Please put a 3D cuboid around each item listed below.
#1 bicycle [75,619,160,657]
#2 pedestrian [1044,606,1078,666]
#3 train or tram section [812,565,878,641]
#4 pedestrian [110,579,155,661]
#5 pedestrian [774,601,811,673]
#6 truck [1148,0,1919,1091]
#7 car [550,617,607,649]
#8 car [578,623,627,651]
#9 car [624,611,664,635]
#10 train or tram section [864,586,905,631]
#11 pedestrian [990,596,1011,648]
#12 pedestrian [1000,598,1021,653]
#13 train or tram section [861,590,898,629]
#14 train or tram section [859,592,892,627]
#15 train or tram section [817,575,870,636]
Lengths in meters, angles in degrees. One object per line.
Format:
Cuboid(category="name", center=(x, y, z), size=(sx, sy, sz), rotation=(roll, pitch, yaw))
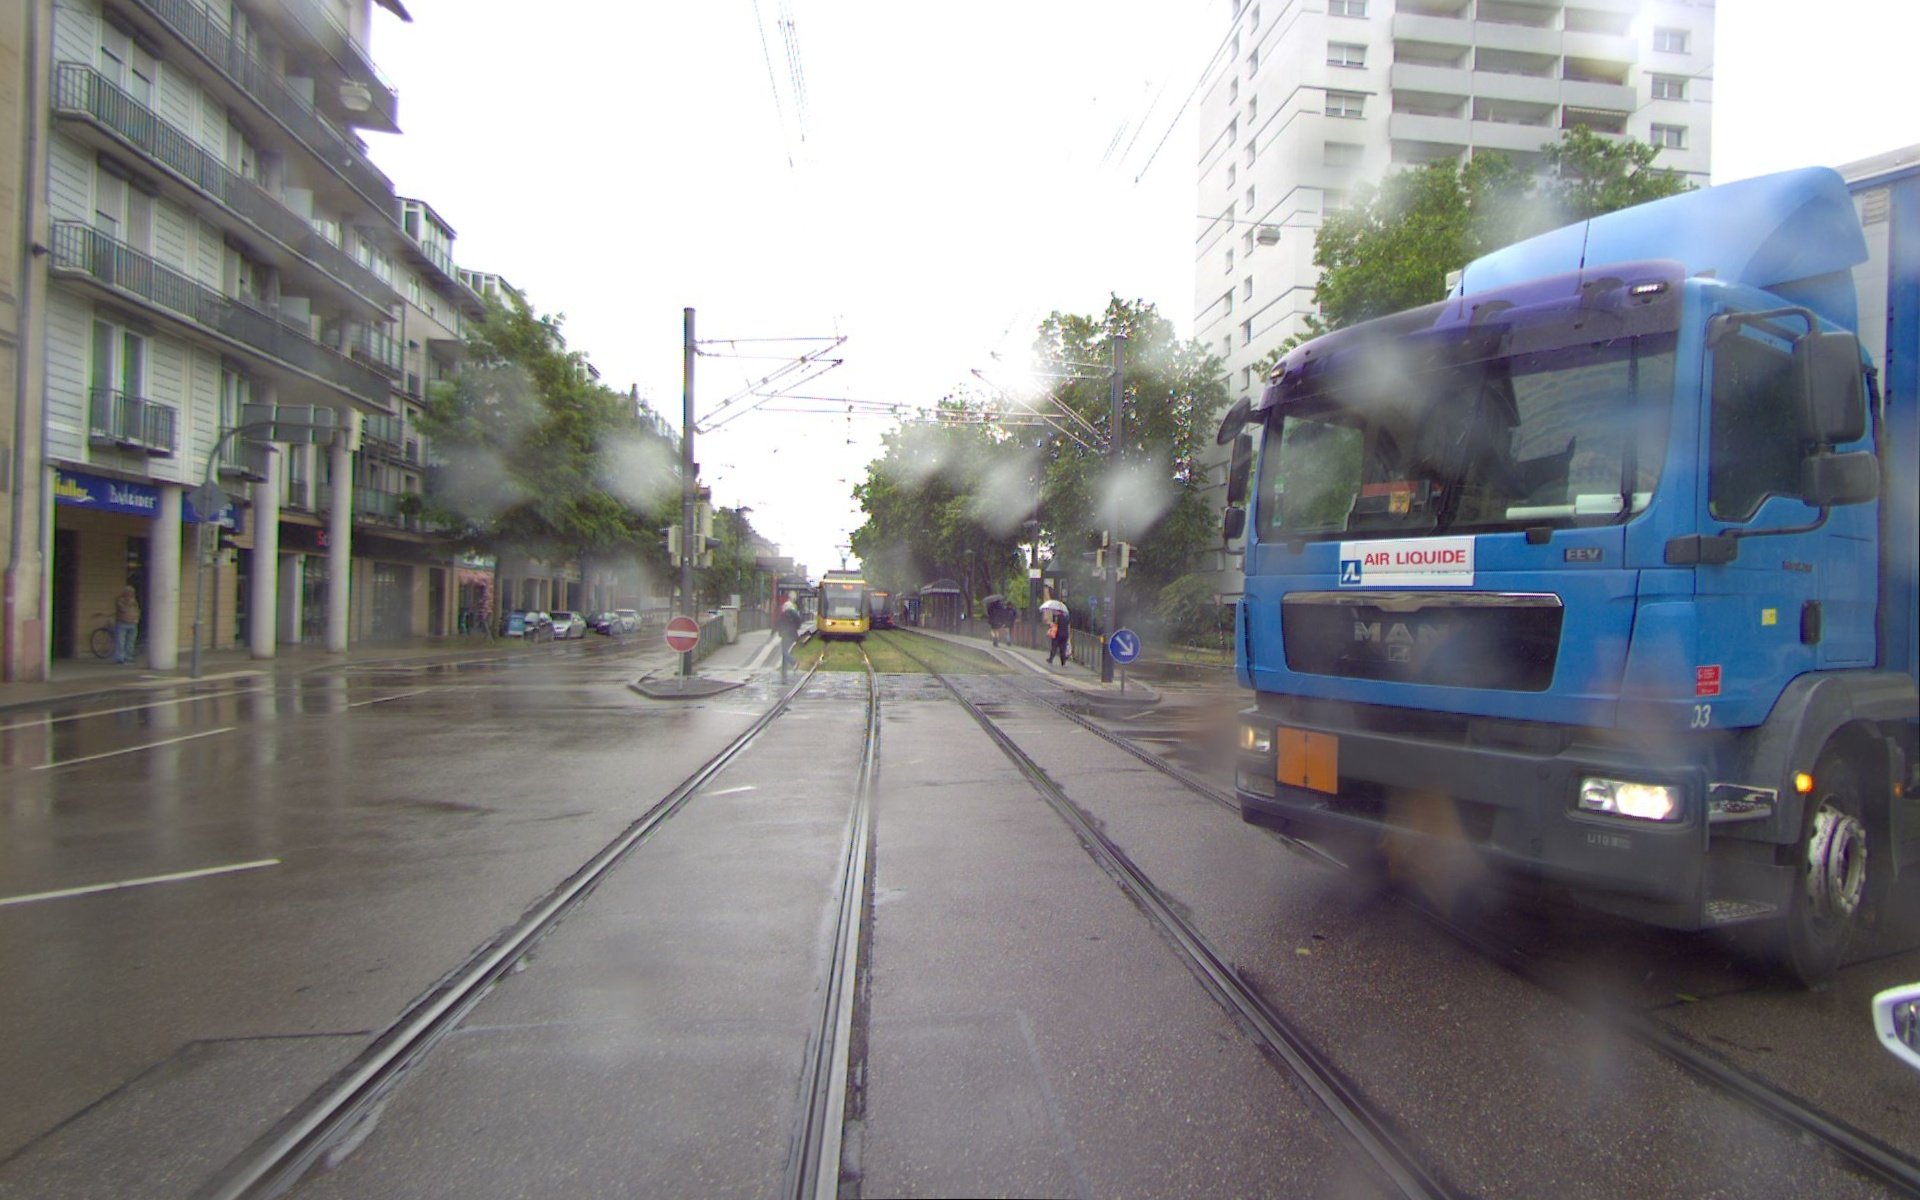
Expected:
Cuboid(category="bicycle", center=(-20.626, 0.916, 24.652), size=(0.570, 0.878, 1.926), rotation=(2, -1, -5))
Cuboid(category="pedestrian", center=(2.873, 1.028, 28.702), size=(0.779, 1.670, 0.816), rotation=(1, -1, -8))
Cuboid(category="train or tram section", center=(-6.204, 0.224, 53.936), size=(3.015, 3.550, 11.565), rotation=(2, -1, -7))
Cuboid(category="pedestrian", center=(-18.591, 0.454, 22.578), size=(0.490, 1.804, 0.611), rotation=(2, 0, -6))
Cuboid(category="pedestrian", center=(-3.990, 0.885, 23.860), size=(0.743, 1.670, 0.835), rotation=(2, -1, -15))
Cuboid(category="truck", center=(6.094, -0.336, 7.121), size=(10.206, 4.078, 2.829), rotation=(2, -1, -33))
Cuboid(category="car", center=(-18.976, 1.629, 50.155), size=(1.792, 1.439, 3.995), rotation=(2, -1, -8))
Cuboid(category="car", center=(-20.093, 2.054, 56.599), size=(1.792, 1.439, 3.995), rotation=(2, -1, -8))
Cuboid(category="car", center=(-20.514, 1.494, 65.279), size=(1.792, 1.439, 3.995), rotation=(2, -1, -8))
Cuboid(category="train or tram section", center=(-6.692, 0.792, 87.417), size=(3.015, 3.550, 11.565), rotation=(2, -1, -7))
Cuboid(category="pedestrian", center=(1.470, 0.806, 36.957), size=(0.628, 1.863, 0.678), rotation=(1, -1, -8))
Cuboid(category="pedestrian", center=(1.974, 0.977, 39.235), size=(0.626, 2.105, 0.701), rotation=(2, 0, -12))
Cuboid(category="train or tram section", center=(-8.033, 0.933, 98.904), size=(3.015, 3.550, 11.565), rotation=(2, -1, -7))
Cuboid(category="train or tram section", center=(-9.378, 1.089, 110.398), size=(3.015, 3.550, 11.565), rotation=(2, -1, -7))
Cuboid(category="train or tram section", center=(-7.571, 0.402, 65.441), size=(3.015, 3.550, 11.565), rotation=(2, -1, -7))
